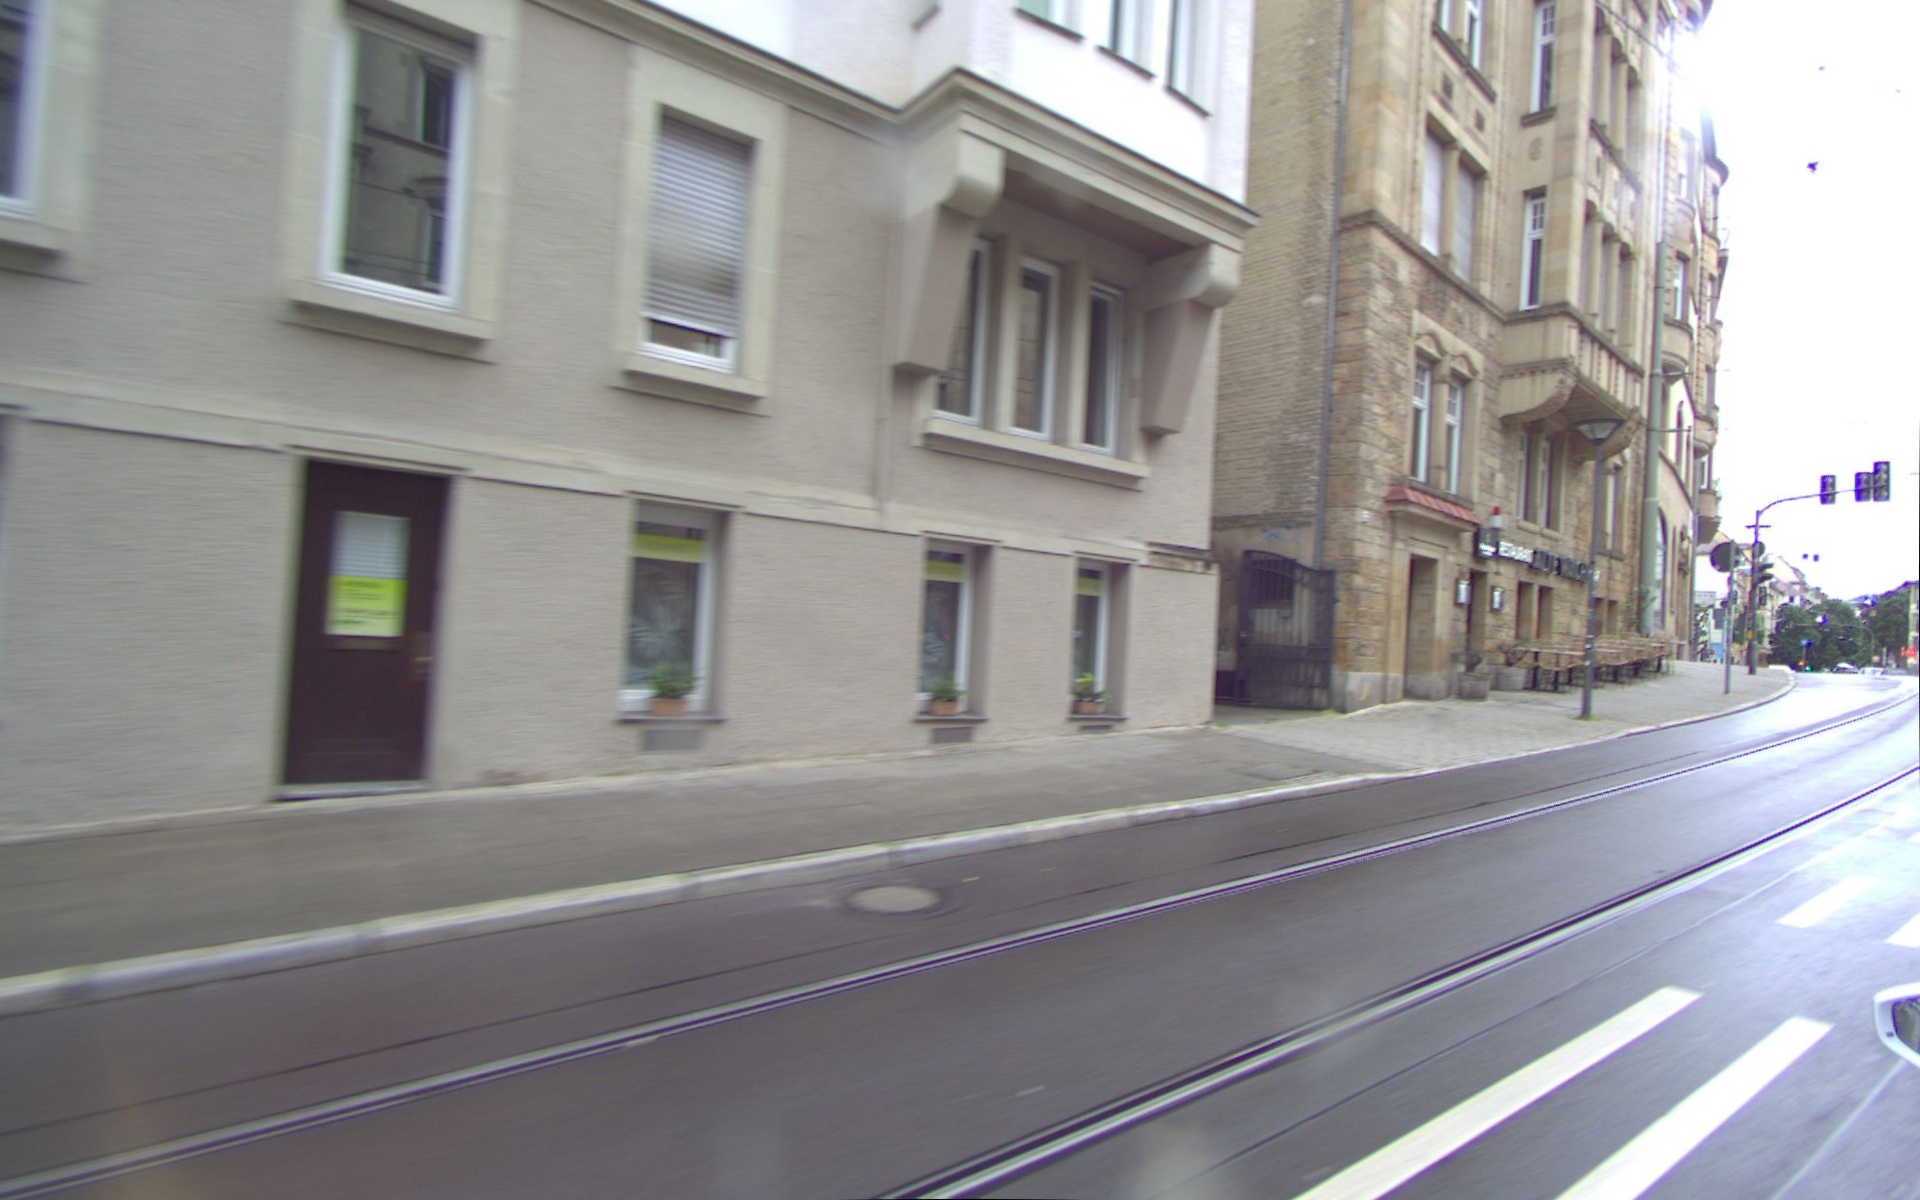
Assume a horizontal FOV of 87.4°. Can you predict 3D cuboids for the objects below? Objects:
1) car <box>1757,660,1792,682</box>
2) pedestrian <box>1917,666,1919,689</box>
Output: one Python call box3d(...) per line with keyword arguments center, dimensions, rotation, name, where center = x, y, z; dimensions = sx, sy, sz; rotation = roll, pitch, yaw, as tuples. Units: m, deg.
box3d(center=(65.586, 5.706, 80.948), dimensions=(1.770, 1.530, 4.652), rotation=(0, -1, 34), name="car")
box3d(center=(74.985, 6.049, 78.232), dimensions=(0.641, 1.683, 0.646), rotation=(2, 1, 44), name="pedestrian")
